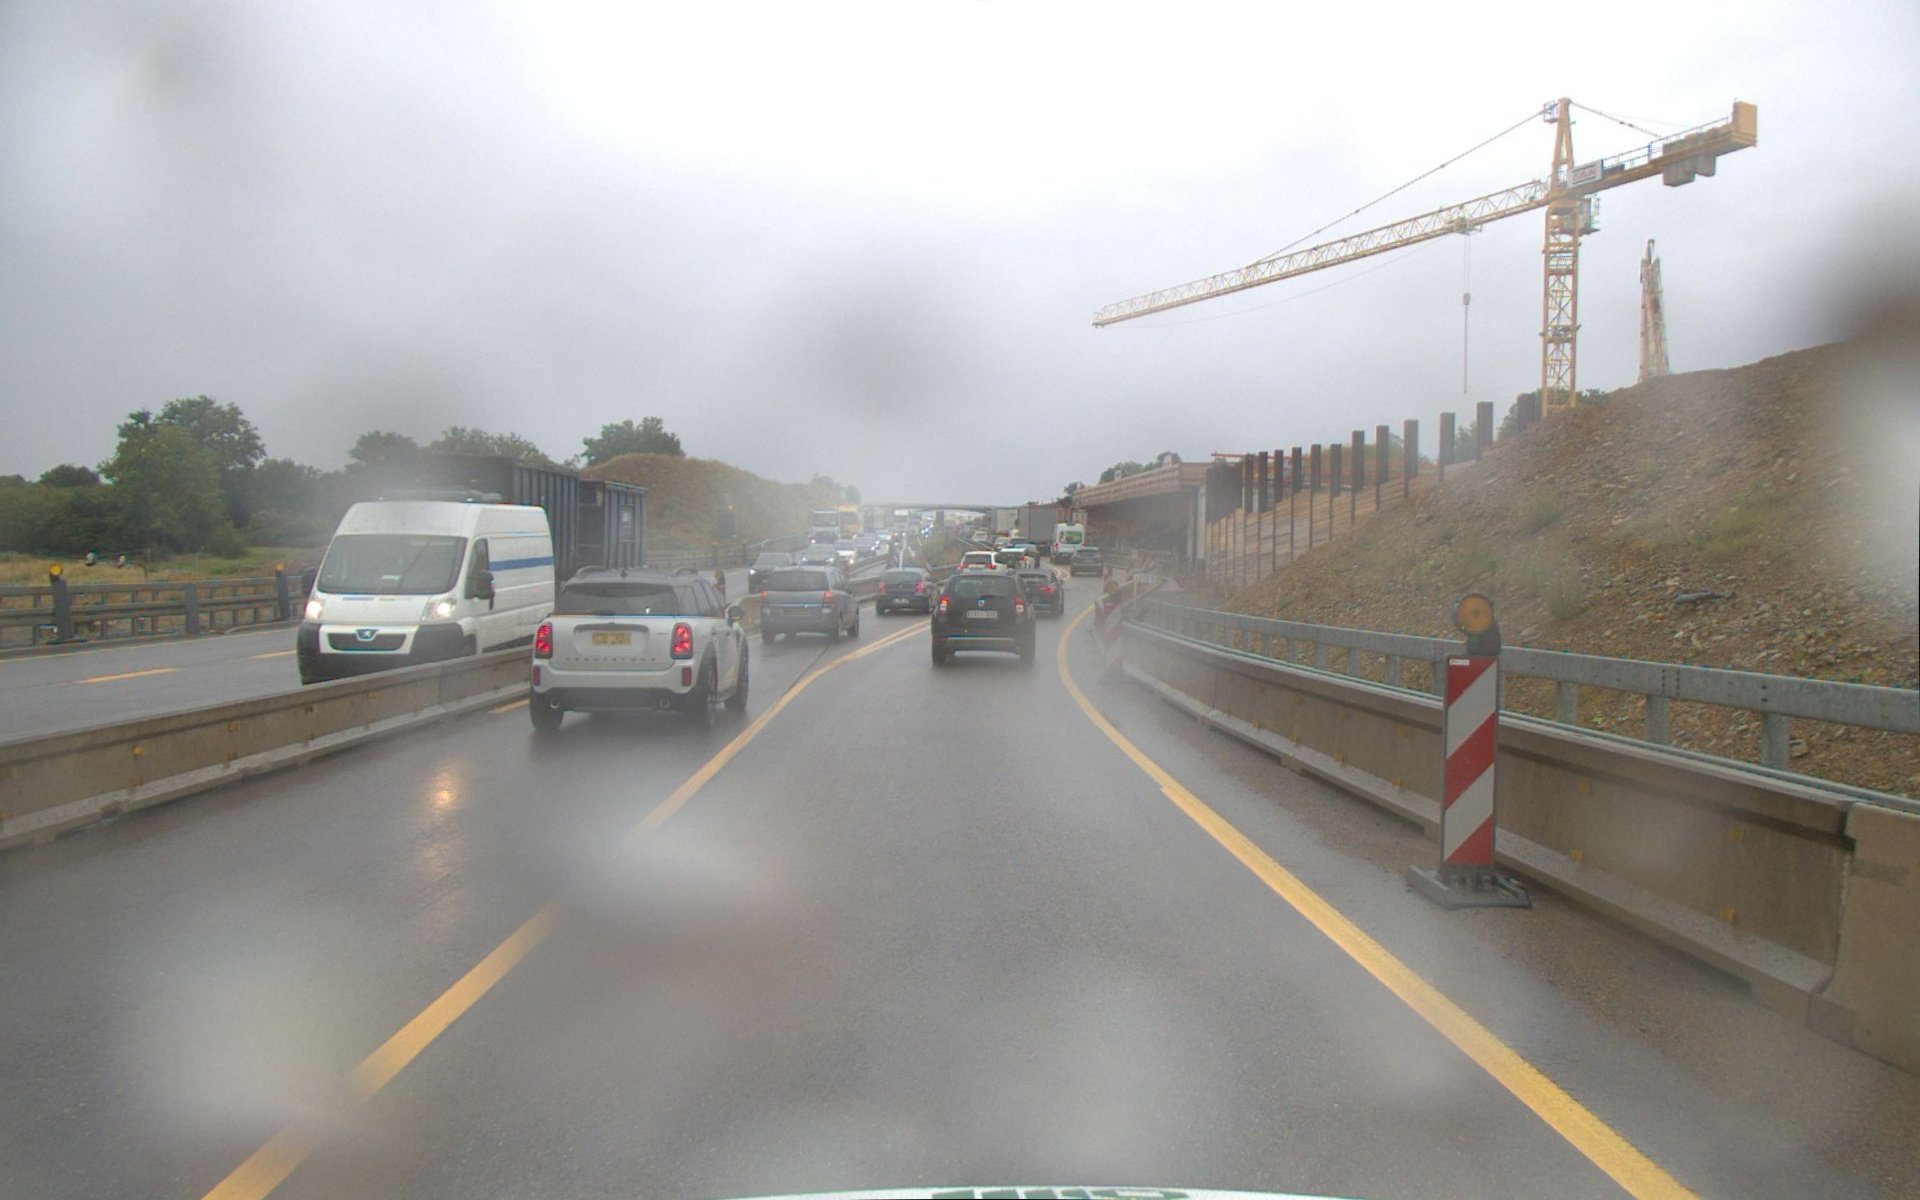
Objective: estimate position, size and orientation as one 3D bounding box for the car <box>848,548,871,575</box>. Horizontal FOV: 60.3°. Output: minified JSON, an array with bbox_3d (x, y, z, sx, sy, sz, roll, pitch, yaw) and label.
[{"bbox_3d":[-7.608,-2.909,125.367,1.590,1.841,3.636,0,-1,0],"label":"car"}]

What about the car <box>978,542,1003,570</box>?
[{"bbox_3d":[2.662,-3.811,144.754,1.953,2.201,4.139,0,-1,-1],"label":"car"}]

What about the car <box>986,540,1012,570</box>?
[{"bbox_3d":[3.172,-3.639,133.429,1.952,2.201,4.142,0,-1,4],"label":"car"}]

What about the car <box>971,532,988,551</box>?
[{"bbox_3d":[2.191,-6.493,184.448,1.812,1.927,4.020,0,-1,0],"label":"car"}]

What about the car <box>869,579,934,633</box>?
[{"bbox_3d":[-1.868,0.228,52.325,1.954,1.628,4.138,0,-1,-3],"label":"car"}]

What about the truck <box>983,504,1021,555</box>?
[{"bbox_3d":[4.941,-8.314,196.823,3.727,5.131,12.915,0,-1,-2],"label":"truck"}]

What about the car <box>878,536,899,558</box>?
[{"bbox_3d":[-7.957,-5.905,184.754,2.193,2.400,4.876,1,0,0],"label":"car"}]

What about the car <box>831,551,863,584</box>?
[{"bbox_3d":[-7.129,-2.021,104.547,1.749,1.841,4.498,0,-1,-1],"label":"car"}]

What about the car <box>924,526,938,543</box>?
[{"bbox_3d":[-4.118,-9.345,236.096,1.953,2.049,3.998,0,-1,-2],"label":"car"}]

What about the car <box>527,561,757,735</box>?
[{"bbox_3d":[-3.263,0.485,17.775,1.779,1.628,4.305,0,-1,-2],"label":"car"}]

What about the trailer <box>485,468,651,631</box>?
[{"bbox_3d":[-10.681,-1.355,46.122,2.691,4.039,9.670,0,1,-2],"label":"trailer"}]

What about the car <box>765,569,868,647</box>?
[{"bbox_3d":[-3.124,0.220,36.810,1.953,1.628,4.139,0,-1,-1],"label":"car"}]

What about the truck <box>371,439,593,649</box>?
[{"bbox_3d":[-10.290,-1.170,36.683,2.588,4.039,9.209,0,1,-2],"label":"truck"}]

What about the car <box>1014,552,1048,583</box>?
[{"bbox_3d":[4.515,-2.053,105.397,1.953,1.792,3.814,0,-1,0],"label":"car"}]

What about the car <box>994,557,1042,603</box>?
[{"bbox_3d":[3.017,-0.975,84.543,1.951,2.201,4.143,0,-1,9],"label":"car"}]

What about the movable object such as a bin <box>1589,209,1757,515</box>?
[{"bbox_3d":[29.625,-9.494,69.423,4.617,11.033,10.311,0,-2,13],"label":"movable object such as a bin"}]

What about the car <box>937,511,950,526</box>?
[{"bbox_3d":[-2.503,-12.298,250.212,1.953,2.049,3.998,0,-1,-2],"label":"car"}]

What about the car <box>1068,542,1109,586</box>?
[{"bbox_3d":[7.066,-1.966,91.053,1.952,2.201,4.140,0,-1,1],"label":"car"}]

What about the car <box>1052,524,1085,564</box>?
[{"bbox_3d":[7.522,-3.886,115.307,1.953,2.528,4.980,0,-1,-1],"label":"car"}]

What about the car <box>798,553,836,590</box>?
[{"bbox_3d":[-7.775,-1.515,90.347,1.749,1.841,4.498,0,-1,-1],"label":"car"}]

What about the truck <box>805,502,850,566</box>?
[{"bbox_3d":[-11.034,-5.425,138.354,3.020,5.005,8.563,1,0,0],"label":"truck"}]

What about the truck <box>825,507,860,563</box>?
[{"bbox_3d":[-12.299,-6.738,173.425,3.077,5.512,8.522,1,0,0],"label":"truck"}]

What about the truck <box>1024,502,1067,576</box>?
[{"bbox_3d":[7.161,-4.951,137.239,3.036,5.521,9.448,0,-1,6],"label":"truck"}]

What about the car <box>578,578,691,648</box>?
[{"bbox_3d":[-7.400,0.250,37.998,1.831,1.497,4.669,0,1,-2],"label":"car"}]

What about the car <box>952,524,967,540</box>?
[{"bbox_3d":[-0.106,-9.363,229.359,1.953,2.049,3.999,0,0,-2],"label":"car"}]

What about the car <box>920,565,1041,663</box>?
[{"bbox_3d":[0.321,0.285,30.002,2.039,1.628,4.139,0,-1,-1],"label":"car"}]

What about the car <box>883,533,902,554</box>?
[{"bbox_3d":[-8.136,-6.781,199.682,2.171,2.411,4.663,1,0,0],"label":"car"}]

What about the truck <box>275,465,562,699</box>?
[{"bbox_3d":[-7.144,-0.230,22.628,2.104,2.761,6.014,1,0,-2],"label":"truck"}]

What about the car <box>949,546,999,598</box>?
[{"bbox_3d":[0.568,-1.183,70.950,1.953,2.049,3.891,0,-1,-2],"label":"car"}]

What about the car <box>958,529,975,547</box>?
[{"bbox_3d":[0.739,-7.574,202.394,1.953,2.049,3.999,0,0,-2],"label":"car"}]

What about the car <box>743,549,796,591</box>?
[{"bbox_3d":[-8.066,-1.277,70.545,1.702,1.714,5.551,1,1,-1],"label":"car"}]
